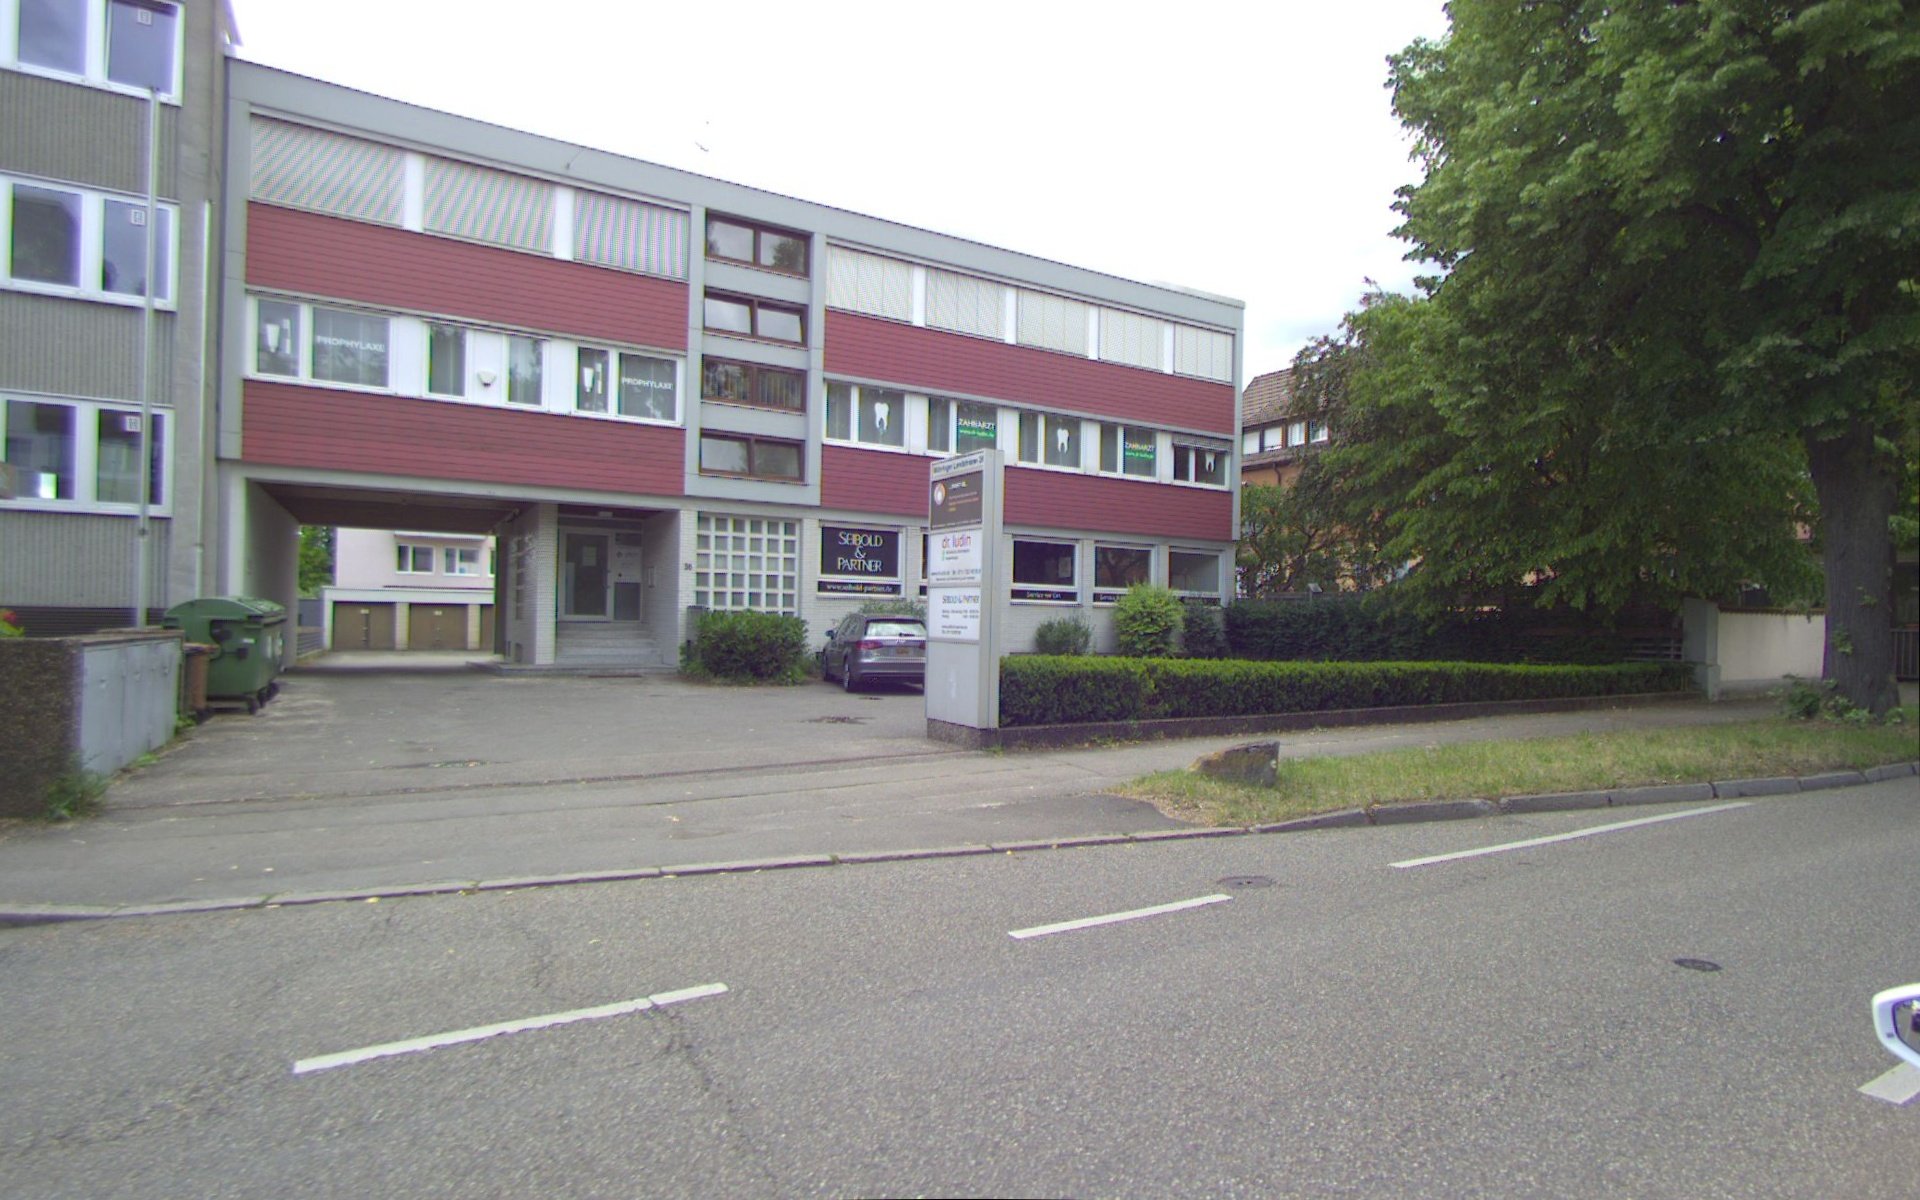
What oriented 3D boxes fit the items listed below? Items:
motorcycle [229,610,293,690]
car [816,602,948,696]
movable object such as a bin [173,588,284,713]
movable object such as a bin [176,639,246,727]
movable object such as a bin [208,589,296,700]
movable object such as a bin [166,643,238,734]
[{"bbox_3d":[-11.138,0.773,16.044,0.632,1.155,1.634,2,1,-29],"label":"motorcycle"},{"bbox_3d":[-1.621,0.867,19.423,1.782,1.499,4.138,2,1,-15],"label":"car"},{"bbox_3d":[-9.431,0.624,13.004,0.981,1.485,1.292,2,1,-30],"label":"movable object such as a bin"},{"bbox_3d":[-8.725,0.950,11.721,0.555,0.951,0.629,2,1,-30],"label":"movable object such as a bin"},{"bbox_3d":[-10.245,0.619,14.585,0.874,1.485,1.355,2,1,-30],"label":"movable object such as a bin"},{"bbox_3d":[-8.436,0.969,11.200,0.555,0.951,0.513,2,1,-30],"label":"movable object such as a bin"}]
